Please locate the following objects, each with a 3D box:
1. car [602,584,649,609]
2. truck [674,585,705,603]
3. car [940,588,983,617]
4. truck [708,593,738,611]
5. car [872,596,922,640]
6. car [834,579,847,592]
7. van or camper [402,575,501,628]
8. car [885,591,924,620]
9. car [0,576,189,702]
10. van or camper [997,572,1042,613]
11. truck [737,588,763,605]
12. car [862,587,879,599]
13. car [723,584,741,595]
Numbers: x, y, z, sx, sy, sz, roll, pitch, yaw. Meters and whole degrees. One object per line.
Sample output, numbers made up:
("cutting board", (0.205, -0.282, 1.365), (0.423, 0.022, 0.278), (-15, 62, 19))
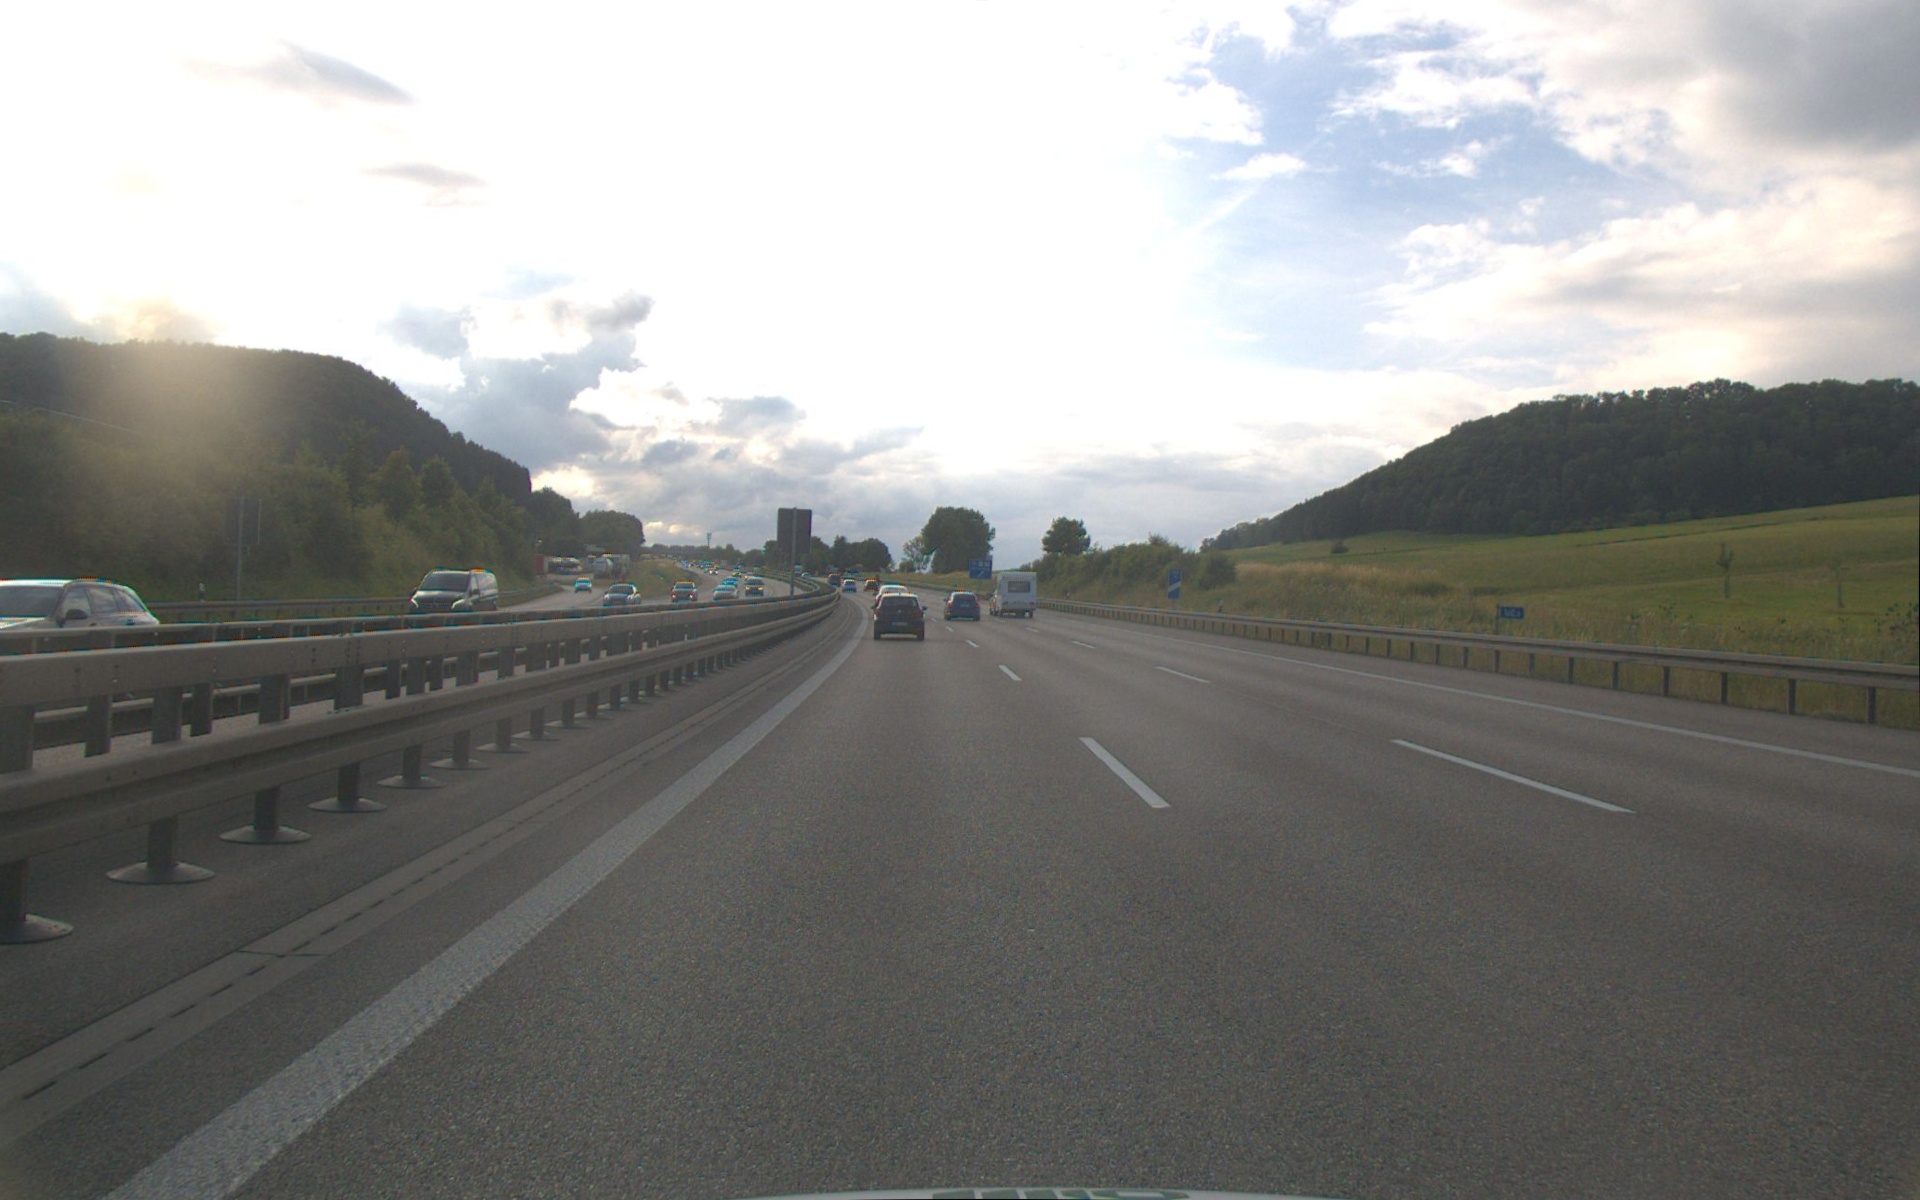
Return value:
("car", (-18.560, -0.199, 91.967), (1.954, 1.377, 4.353), (0, 0, -3))
("truck", (-20.978, -0.497, 128.281), (1.954, 1.377, 3.944), (0, 1, -3))
("car", (0.050, 0.112, 85.780), (1.733, 1.458, 3.994), (0, 0, -7))
("truck", (-17.232, 0.109, 120.325), (1.955, 1.243, 3.995), (-1, 0, -6))
("car", (-2.063, 0.559, 53.716), (1.507, 1.371, 3.674), (1, 0, -4))
("car", (-18.625, -2.274, 257.082), (1.955, 2.049, 3.995), (1, 0, -5))
("van or camper", (-17.109, 0.035, 55.945), (1.954, 1.689, 5.450), (0, 0, -3))
("car", (-2.817, 0.270, 83.091), (1.536, 1.404, 3.992), (0, 0, -8))
("car", (-11.934, 0.450, 21.404), (1.954, 1.455, 4.584), (1, 0, -4))
("van or camper", (3.410, -0.414, 95.550), (2.495, 2.278, 5.329), (1, 0, 1))
("truck", (-21.508, -0.377, 169.138), (1.961, 1.622, 4.826), (-1, 0, -16))
("car", (-12.050, -0.964, 223.544), (1.917, 1.601, 4.001), (1, -1, 2))
("car", (-31.291, -1.486, 227.226), (1.953, 1.512, 3.999), (0, 0, -1))
